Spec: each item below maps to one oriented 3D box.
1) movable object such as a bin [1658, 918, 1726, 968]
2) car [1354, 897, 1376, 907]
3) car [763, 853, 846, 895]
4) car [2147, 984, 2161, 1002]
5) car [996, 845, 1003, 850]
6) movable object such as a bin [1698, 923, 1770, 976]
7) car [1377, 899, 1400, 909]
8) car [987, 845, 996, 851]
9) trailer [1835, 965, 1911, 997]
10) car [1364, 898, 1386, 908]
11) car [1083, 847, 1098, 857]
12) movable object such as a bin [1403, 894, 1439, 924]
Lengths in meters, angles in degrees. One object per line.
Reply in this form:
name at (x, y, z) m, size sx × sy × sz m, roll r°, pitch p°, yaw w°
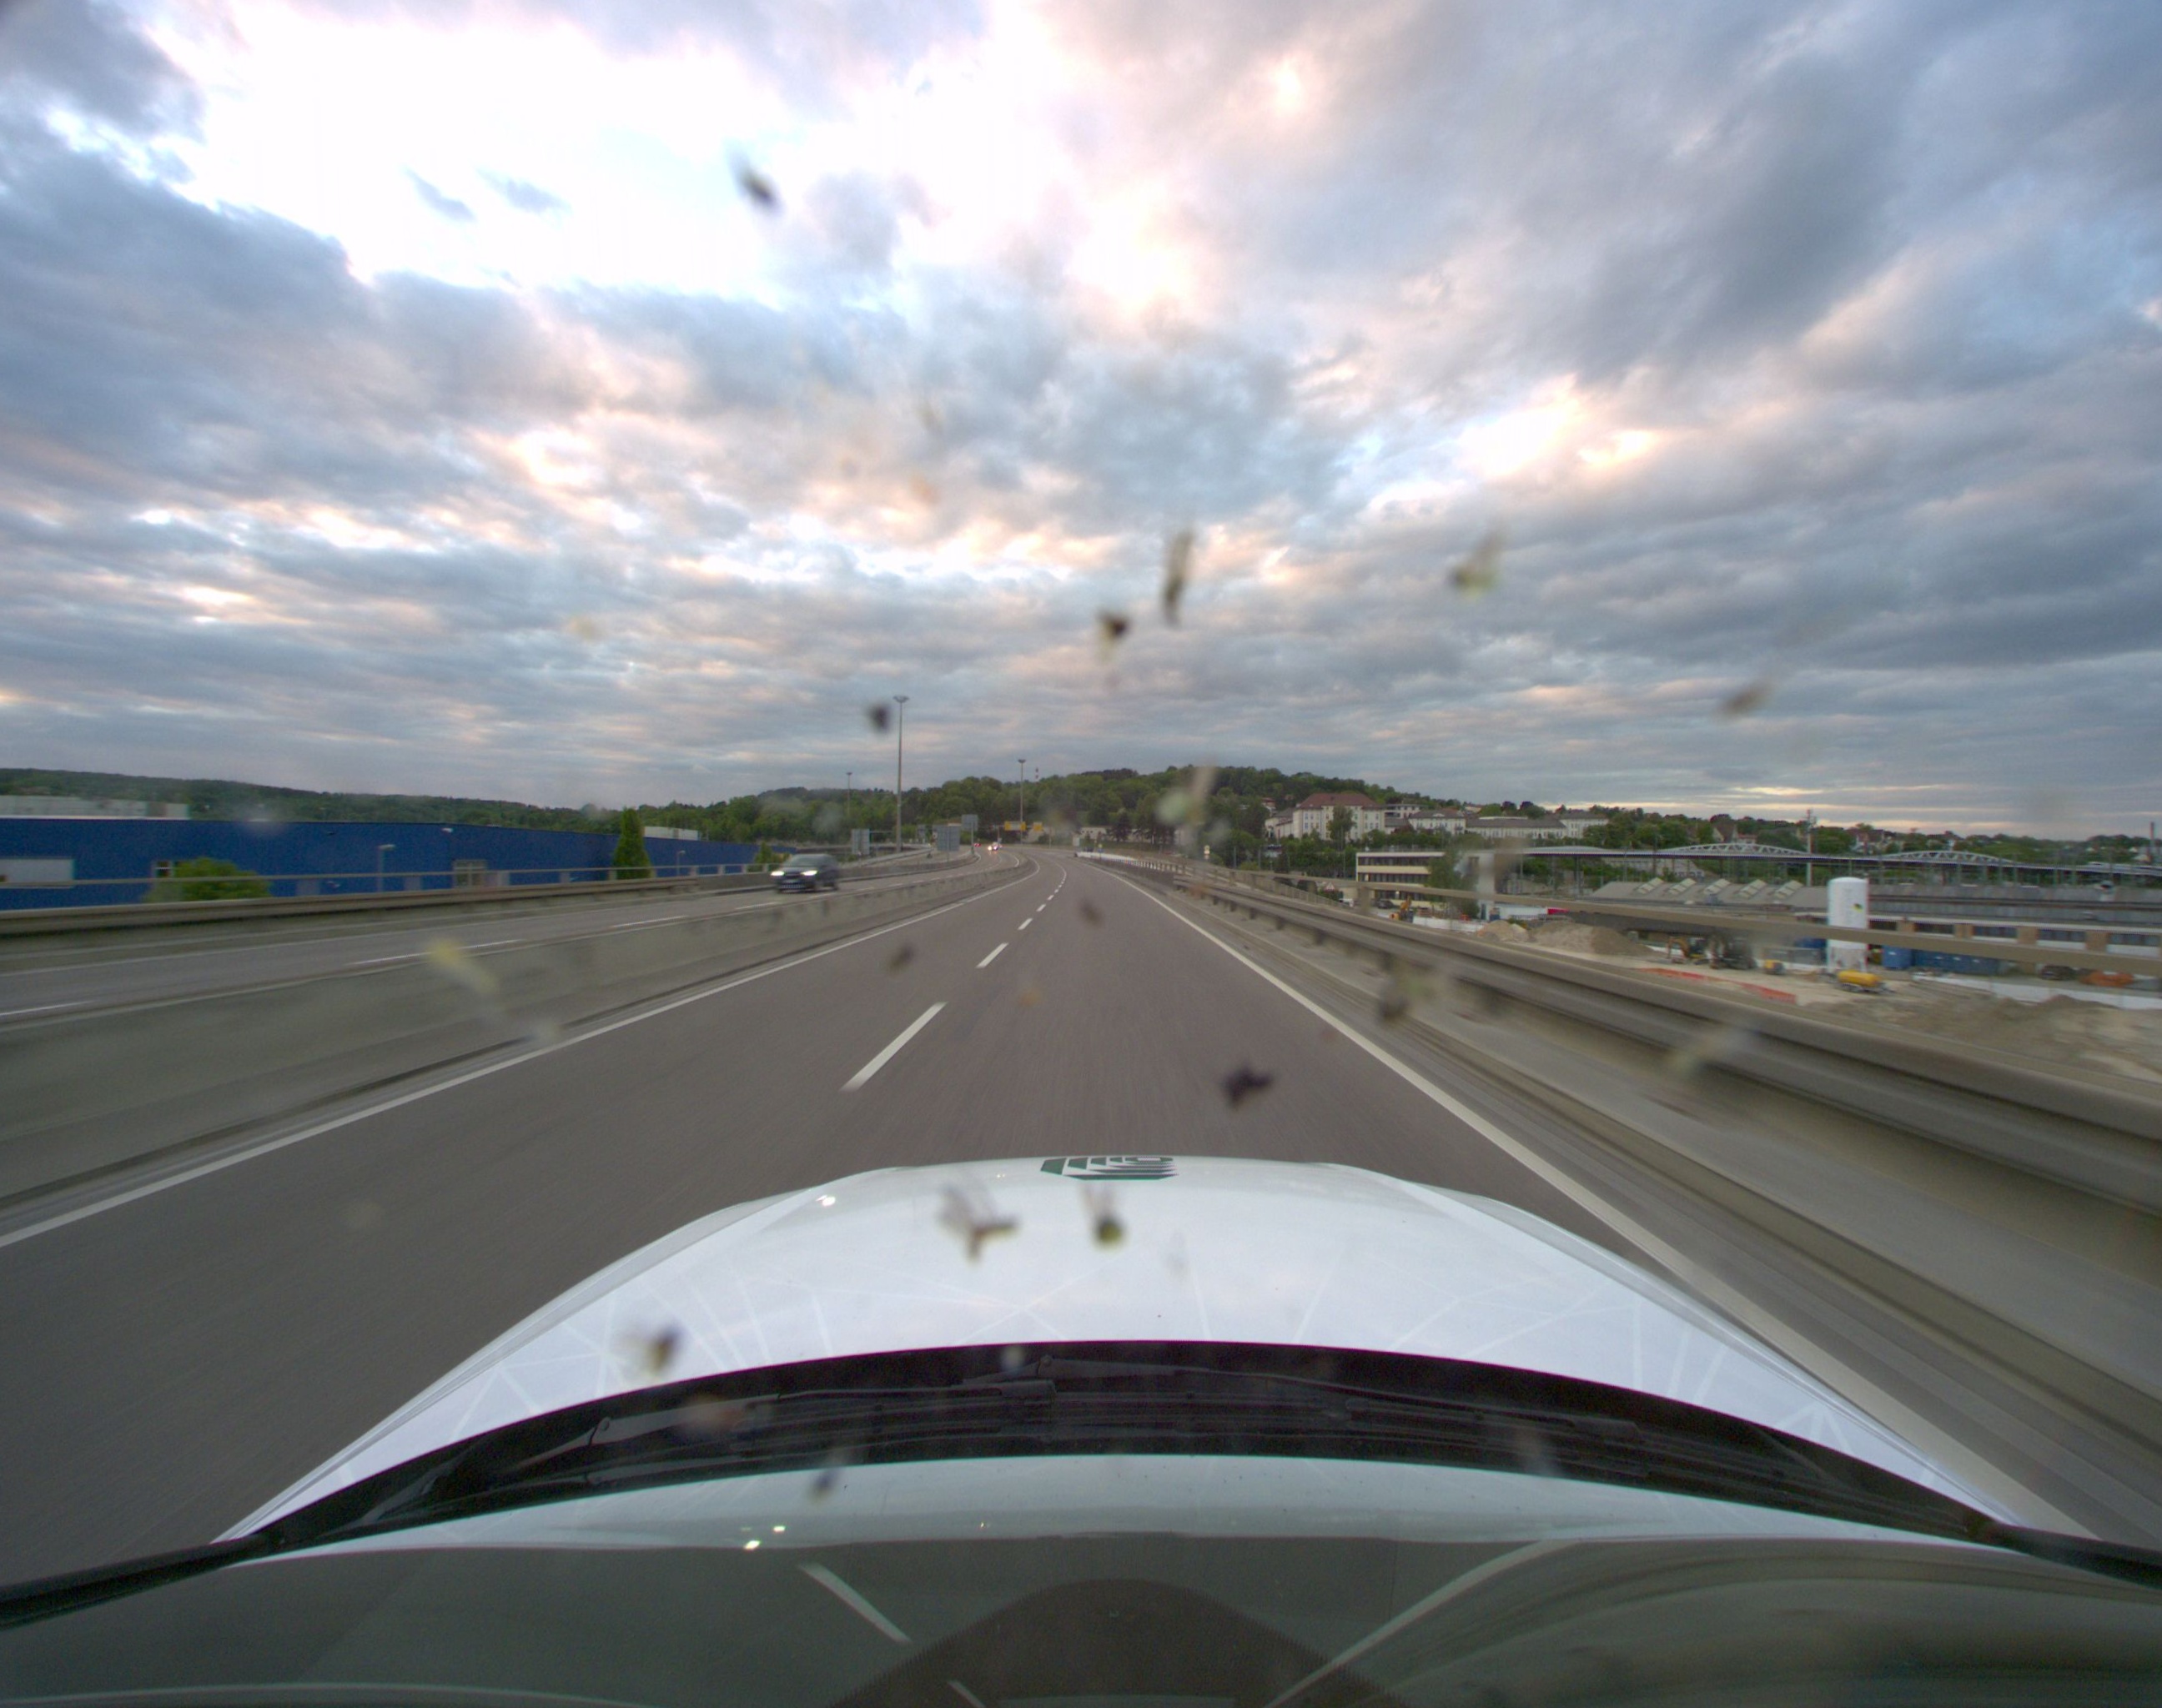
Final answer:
movable object such as a bin at (61.594, 8.924, 82.074) m, size 4.949 × 4.310 × 2.771 m, roll 6°, pitch -1°, yaw -15°
car at (53.996, 9.131, 155.004) m, size 4.015 × 1.565 × 1.813 m, roll 4°, pitch 2°, yaw -34°
car at (-11.409, 0.787, 33.942) m, size 1.971 × 1.605 × 4.439 m, roll -1°, pitch 0°, yaw -1°
car at (97.131, 12.552, 72.749) m, size 4.013 × 1.420 × 1.853 m, roll 6°, pitch 0°, yaw -32°
car at (-24.206, -2.057, 241.817) m, size 1.633 × 1.387 × 3.982 m, roll -1°, pitch 1°, yaw -13°
movable object such as a bin at (62.884, 9.181, 78.470) m, size 4.949 × 4.310 × 2.771 m, roll 6°, pitch -1°, yaw -15°
car at (55.736, 9.075, 147.734) m, size 4.015 × 1.565 × 1.813 m, roll 4°, pitch 2°, yaw -34°
car at (-23.236, -1.478, 212.358) m, size 1.831 × 1.480 × 4.267 m, roll 0°, pitch 0°, yaw -13°
trailer at (62.982, 10.081, 64.825) m, size 1.992 × 1.803 × 3.835 m, roll 6°, pitch 0°, yaw -7°
car at (54.791, 9.106, 151.818) m, size 4.015 × 1.565 × 1.813 m, roll 4°, pitch 2°, yaw -34°
car at (1.953, -0.416, 167.518) m, size 2.306 × 1.763 × 4.246 m, roll 1°, pitch 1°, yaw -12°
movable object such as a bin at (55.929, 9.007, 134.195) m, size 2.778 × 4.310 × 4.936 m, roll 6°, pitch 0°, yaw -12°
